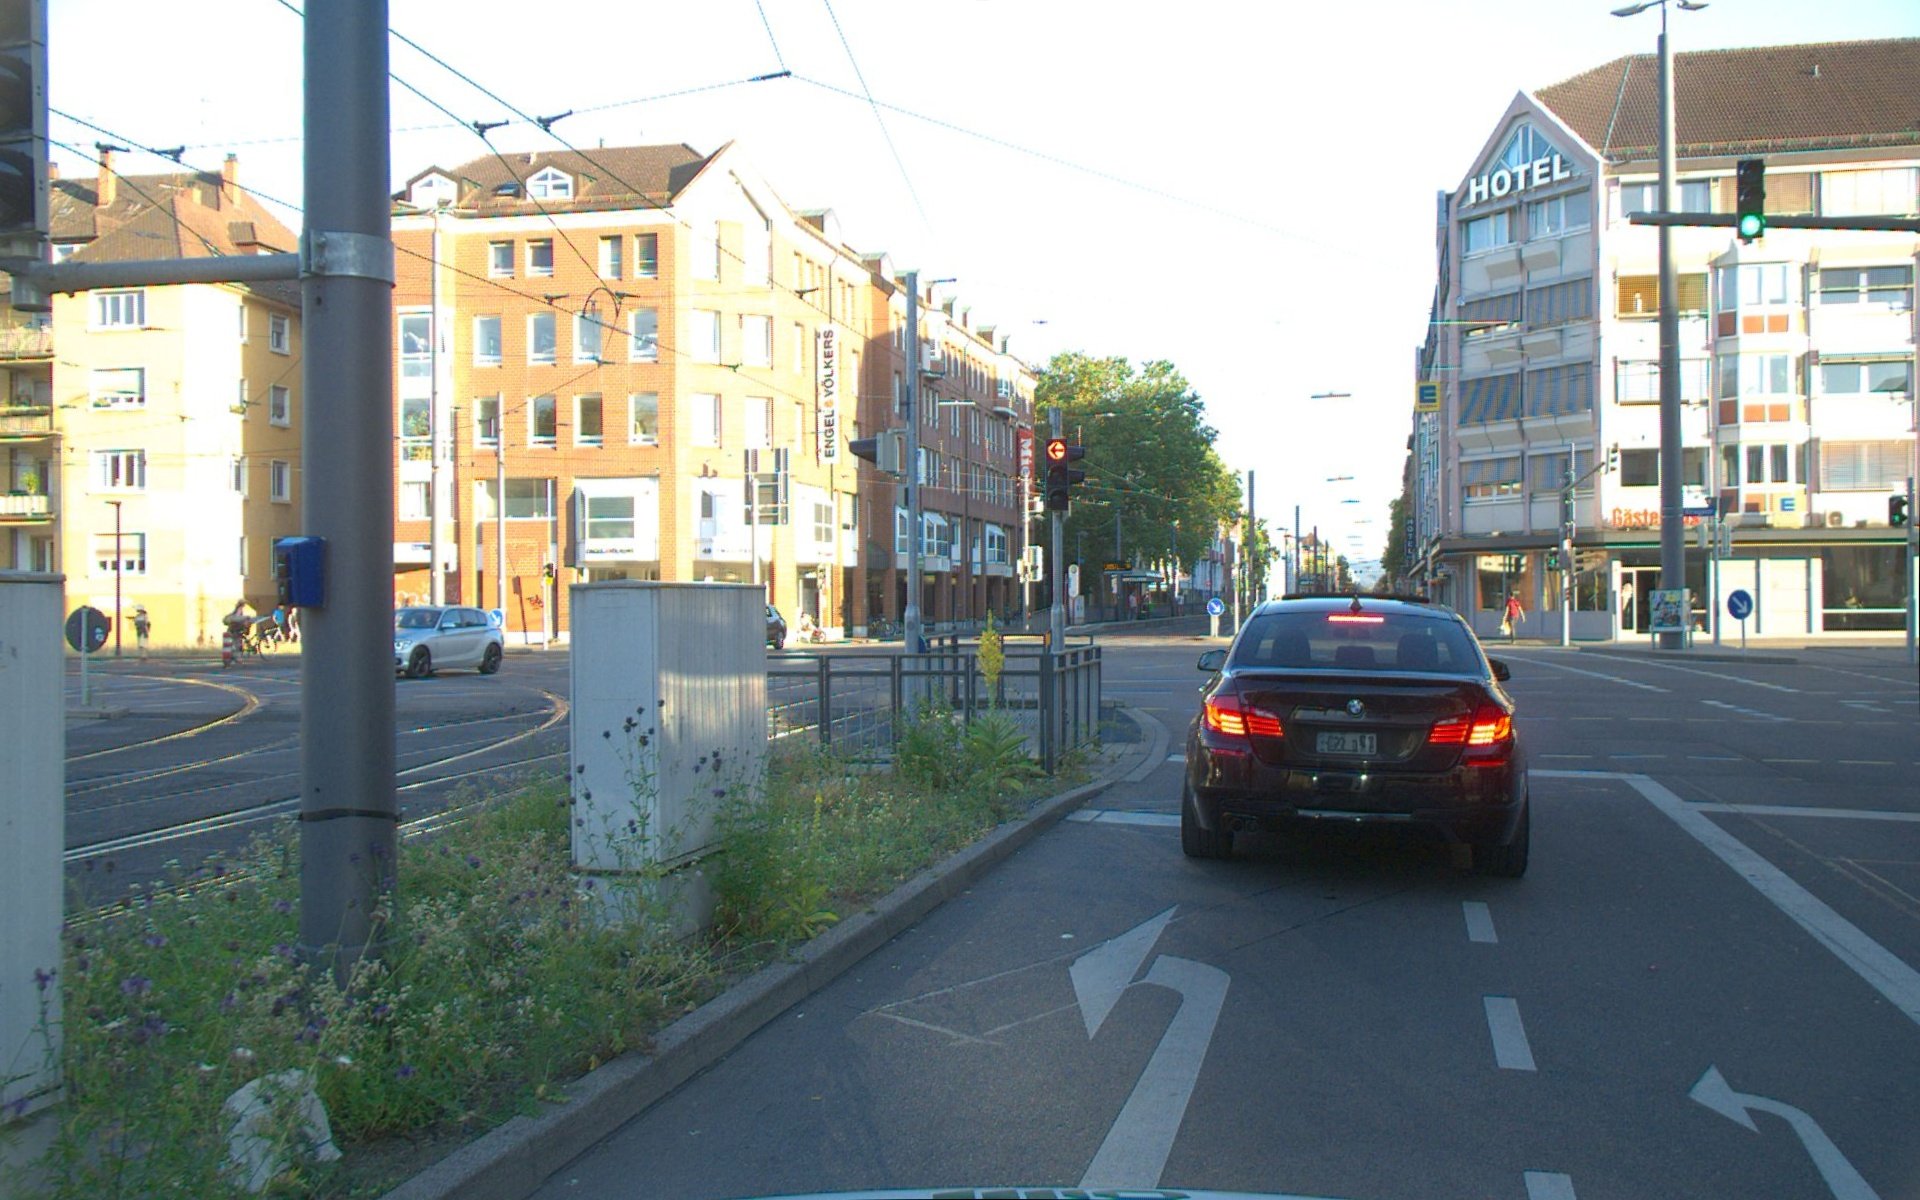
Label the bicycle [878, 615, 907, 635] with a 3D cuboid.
[{"bbox_3d":[-3.307,1.238,81.250,1.384,0.938,0.444,1,0,-2],"label":"bicycle"}]

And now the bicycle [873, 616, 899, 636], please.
[{"bbox_3d":[-3.567,1.272,79.852,1.260,0.938,0.349,1,0,-2],"label":"bicycle"}]

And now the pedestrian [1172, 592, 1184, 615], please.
[{"bbox_3d":[16.151,0.285,122.701,0.708,1.710,0.992,-1,0,17],"label":"pedestrian"}]

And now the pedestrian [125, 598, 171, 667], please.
[{"bbox_3d":[-22.958,0.910,46.765,0.825,1.900,0.936,1,0,45],"label":"pedestrian"}]

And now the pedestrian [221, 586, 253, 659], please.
[{"bbox_3d":[-18.949,0.589,43.347,0.491,1.900,0.563,1,0,9],"label":"pedestrian"}]

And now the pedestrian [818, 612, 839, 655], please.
[{"bbox_3d":[-5.820,1.487,73.280,0.622,1.900,0.675,1,0,41],"label":"pedestrian"}]

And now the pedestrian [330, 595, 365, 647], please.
[{"bbox_3d":[-22.919,0.774,61.946,0.920,1.900,0.839,1,0,5],"label":"pedestrian"}]

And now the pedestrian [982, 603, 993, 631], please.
[{"bbox_3d":[1.672,1.013,99.426,0.476,1.710,0.655,-1,0,18],"label":"pedestrian"}]

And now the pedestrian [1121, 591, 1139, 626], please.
[{"bbox_3d":[10.137,0.520,98.742,0.967,2.049,0.726,1,0,13],"label":"pedestrian"}]

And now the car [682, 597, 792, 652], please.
[{"bbox_3d":[-6.857,0.727,51.386,1.951,1.612,4.483,-1,0,12],"label":"car"}]

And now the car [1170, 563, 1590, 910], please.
[{"bbox_3d":[2.381,0.632,10.044,1.951,1.612,4.004,2,1,10],"label":"car"}]

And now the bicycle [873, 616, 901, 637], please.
[{"bbox_3d":[-3.504,1.277,79.271,1.258,0.938,0.350,1,0,11],"label":"bicycle"}]

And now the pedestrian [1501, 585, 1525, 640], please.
[{"bbox_3d":[19.326,0.433,57.821,0.670,1.887,0.671,-1,0,11],"label":"pedestrian"}]

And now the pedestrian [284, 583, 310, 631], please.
[{"bbox_3d":[-26.347,0.267,65.710,0.789,1.900,0.662,1,0,-7],"label":"pedestrian"}]

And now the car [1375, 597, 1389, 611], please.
[{"bbox_3d":[49.199,0.475,192.882,1.441,1.541,3.098,-1,0,13],"label":"car"}]

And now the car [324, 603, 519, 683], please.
[{"bbox_3d":[-10.851,0.831,33.649,1.634,1.473,4.204,-1,0,17],"label":"car"}]

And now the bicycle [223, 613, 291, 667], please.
[{"bbox_3d":[-18.419,1.036,43.389,0.605,1.348,2.017,1,1,10],"label":"bicycle"}]

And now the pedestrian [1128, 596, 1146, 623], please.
[{"bbox_3d":[11.126,0.583,103.946,0.967,1.710,0.726,-1,0,13],"label":"pedestrian"}]
